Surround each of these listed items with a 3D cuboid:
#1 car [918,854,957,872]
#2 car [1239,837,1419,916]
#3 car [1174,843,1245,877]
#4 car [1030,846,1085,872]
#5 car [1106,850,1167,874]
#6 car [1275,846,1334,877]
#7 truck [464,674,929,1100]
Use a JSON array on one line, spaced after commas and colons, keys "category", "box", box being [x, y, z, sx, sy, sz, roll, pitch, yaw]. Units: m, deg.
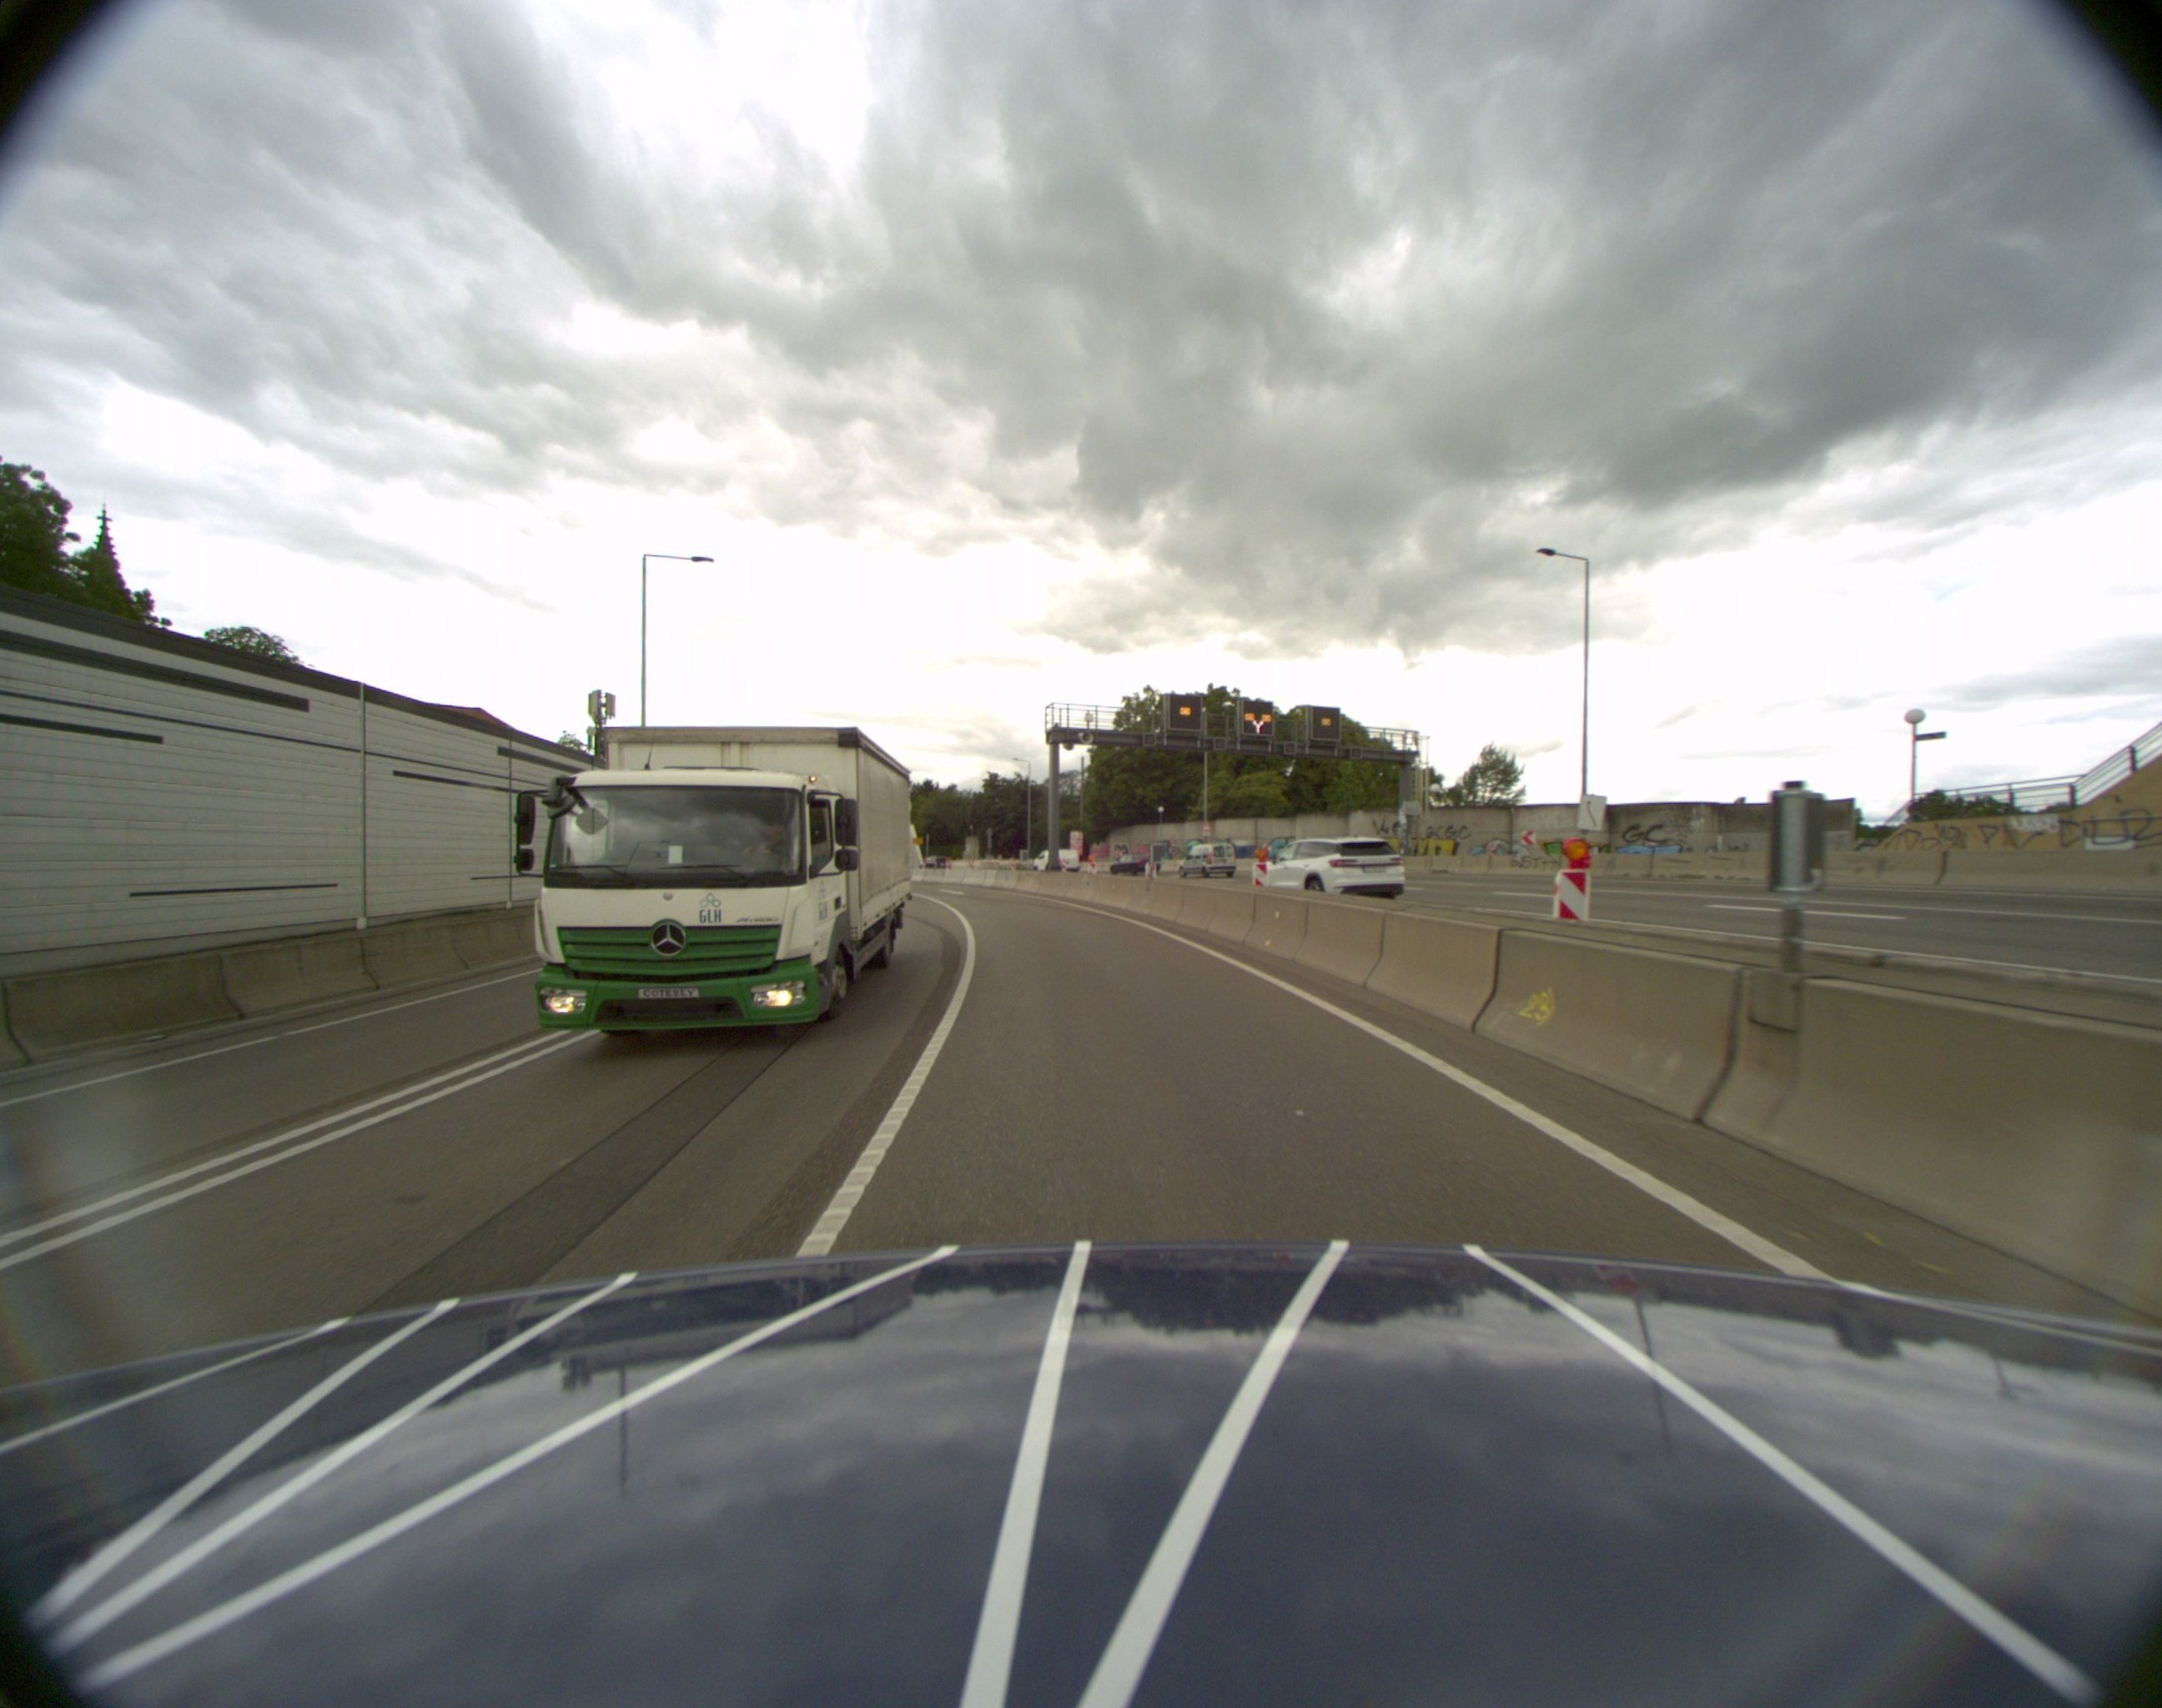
[{"category": "car", "box": [-15.021, 0.936, 79.361, 2.004, 1.685, 4.914, -2, 1, -37]}, {"category": "car", "box": [5.674, 0.484, 18.255, 2.104, 1.543, 5.140, -2, 0, -7]}, {"category": "car", "box": [6.750, 0.282, 40.516, 2.001, 1.676, 4.253, -1, 0, -17]}, {"category": "car", "box": [-1.924, 0.385, 59.817, 2.248, 1.940, 5.093, -1, 1, -28]}, {"category": "car", "box": [3.482, 0.494, 48.877, 2.002, 1.480, 4.579, -1, 0, -24]}, {"category": "car", "box": [11.121, 0.337, 37.985, 1.631, 1.467, 2.938, -1, 0, -11]}, {"category": "truck", "box": [-3.691, 0.222, 9.627, 2.638, 3.220, 7.411, -2, 0, -6]}]
